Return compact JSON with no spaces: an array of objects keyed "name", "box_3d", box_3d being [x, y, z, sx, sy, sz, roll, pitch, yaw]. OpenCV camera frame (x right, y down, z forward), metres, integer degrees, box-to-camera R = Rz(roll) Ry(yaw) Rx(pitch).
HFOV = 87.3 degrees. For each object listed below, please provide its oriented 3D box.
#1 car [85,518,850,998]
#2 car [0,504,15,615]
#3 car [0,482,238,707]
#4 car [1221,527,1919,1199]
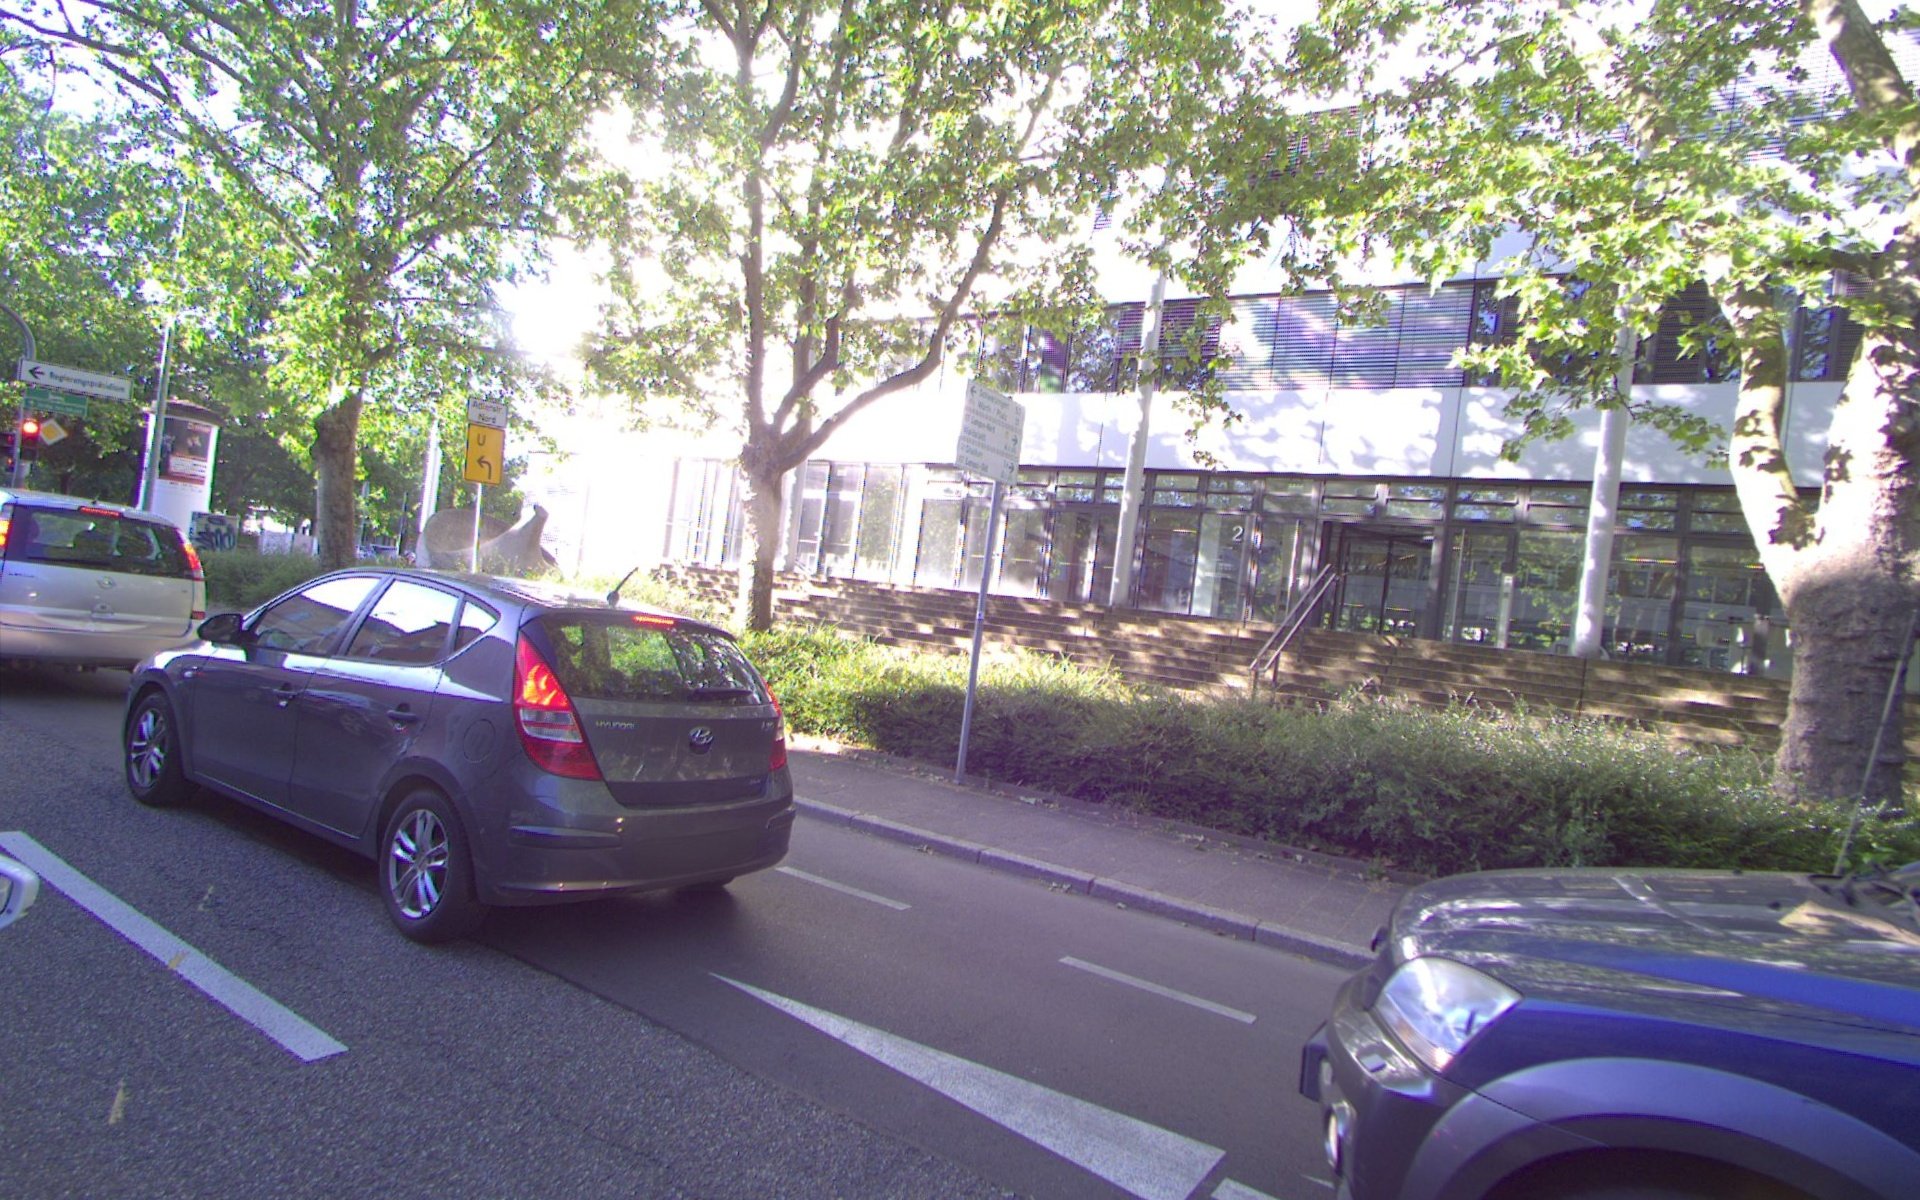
[{"name":"car","box_3d":[-2.714,0.572,5.306,3.910,1.498,1.648,7,-3,32]},{"name":"car","box_3d":[-13.993,-0.726,12.604,4.592,1.481,1.917,7,-2,32]},{"name":"car","box_3d":[-8.389,-0.163,9.036,3.797,1.620,1.705,7,-3,34]},{"name":"car","box_3d":[2.871,1.049,1.675,4.313,1.790,1.784,7,-3,33]}]
